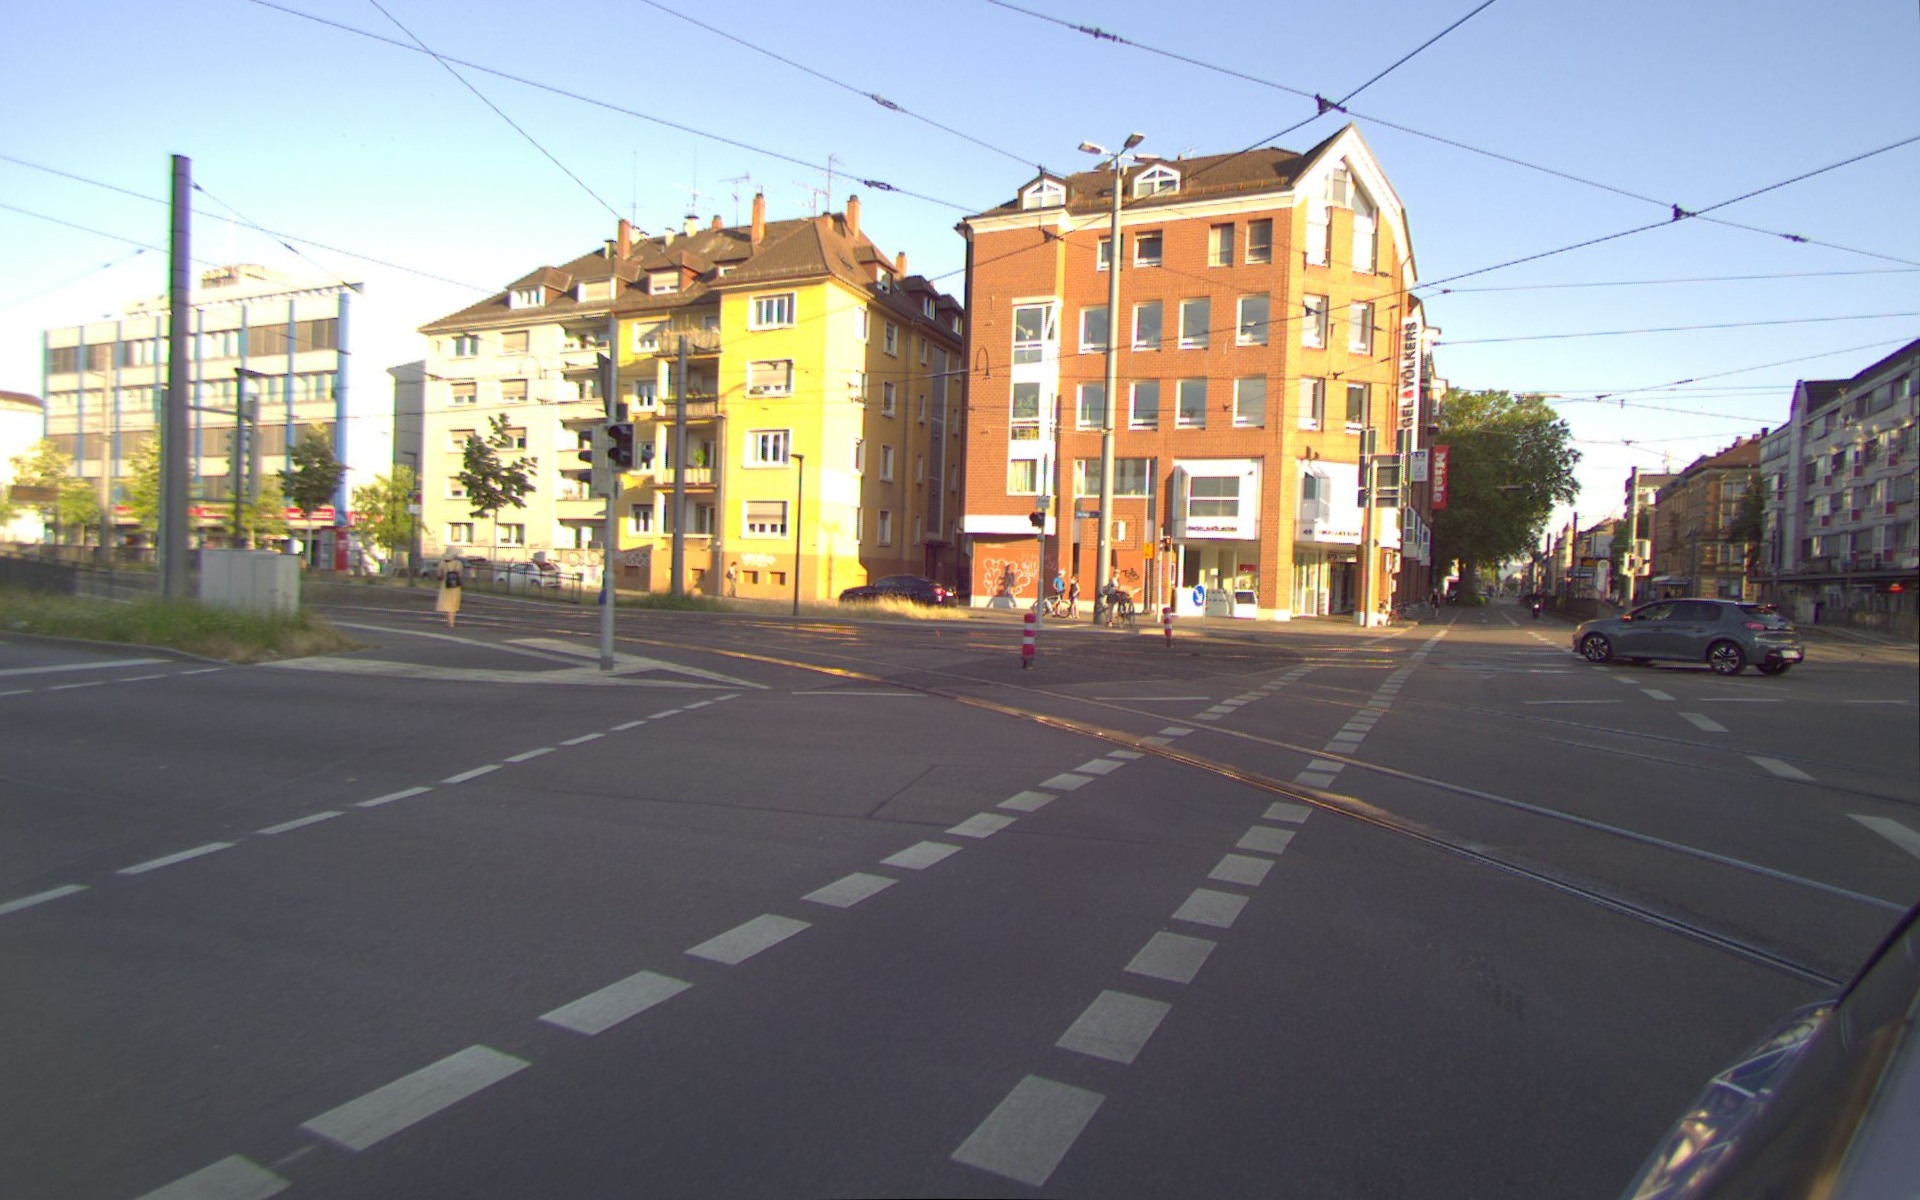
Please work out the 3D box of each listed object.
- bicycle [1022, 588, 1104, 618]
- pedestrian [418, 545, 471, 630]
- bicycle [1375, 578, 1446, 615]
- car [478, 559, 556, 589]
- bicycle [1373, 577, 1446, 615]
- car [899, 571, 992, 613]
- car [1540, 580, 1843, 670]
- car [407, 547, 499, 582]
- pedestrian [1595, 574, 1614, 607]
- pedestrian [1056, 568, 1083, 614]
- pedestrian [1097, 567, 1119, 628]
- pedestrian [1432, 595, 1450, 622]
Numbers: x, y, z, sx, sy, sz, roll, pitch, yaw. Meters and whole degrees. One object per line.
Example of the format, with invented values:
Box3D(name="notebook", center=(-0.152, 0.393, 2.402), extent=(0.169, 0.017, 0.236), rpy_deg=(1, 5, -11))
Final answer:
Box3D(name="bicycle", center=(3.993, 0.117, 39.288), extent=(3.023, 1.030, 0.926), rpy_deg=(2, 1, 18))
Box3D(name="pedestrian", center=(-9.692, -0.239, 19.028), extent=(0.634, 1.560, 0.697), rpy_deg=(3, 2, 41))
Box3D(name="bicycle", center=(23.310, -0.214, 52.349), extent=(3.275, 1.747, 1.060), rpy_deg=(3, 2, 27))
Box3D(name="car", center=(-22.802, -1.345, 52.075), extent=(3.502, 1.437, 1.727), rpy_deg=(3, 2, 22))
Box3D(name="bicycle", center=(22.790, -0.227, 51.313), extent=(3.277, 1.747, 1.059), rpy_deg=(3, 2, 28))
Box3D(name="car", center=(-0.507, -0.279, 39.379), extent=(1.829, 1.514, 4.251), rpy_deg=(1, 0, 27))
Box3D(name="car", center=(14.859, 0.426, 20.905), extent=(1.877, 1.522, 4.712), rpy_deg=(1, 2, -25))
Box3D(name="car", center=(-27.260, -1.914, 54.448), extent=(4.299, 1.726, 2.104), rpy_deg=(3, 2, 22))
Box3D(name="pedestrian", center=(39.765, -0.586, 62.458), extent=(0.802, 2.038, 0.672), rpy_deg=(2, 1, 24))
Box3D(name="pedestrian", center=(4.340, -0.360, 40.141), extent=(0.862, 1.800, 0.912), rpy_deg=(2, 1, 19))
Box3D(name="pedestrian", center=(4.328, -0.077, 29.558), extent=(0.510, 1.729, 0.416), rpy_deg=(2, 1, 25))
Box3D(name="pedestrian", center=(36.769, 0.646, 77.413), extent=(1.076, 2.038, 1.076), rpy_deg=(2, 1, 22))
